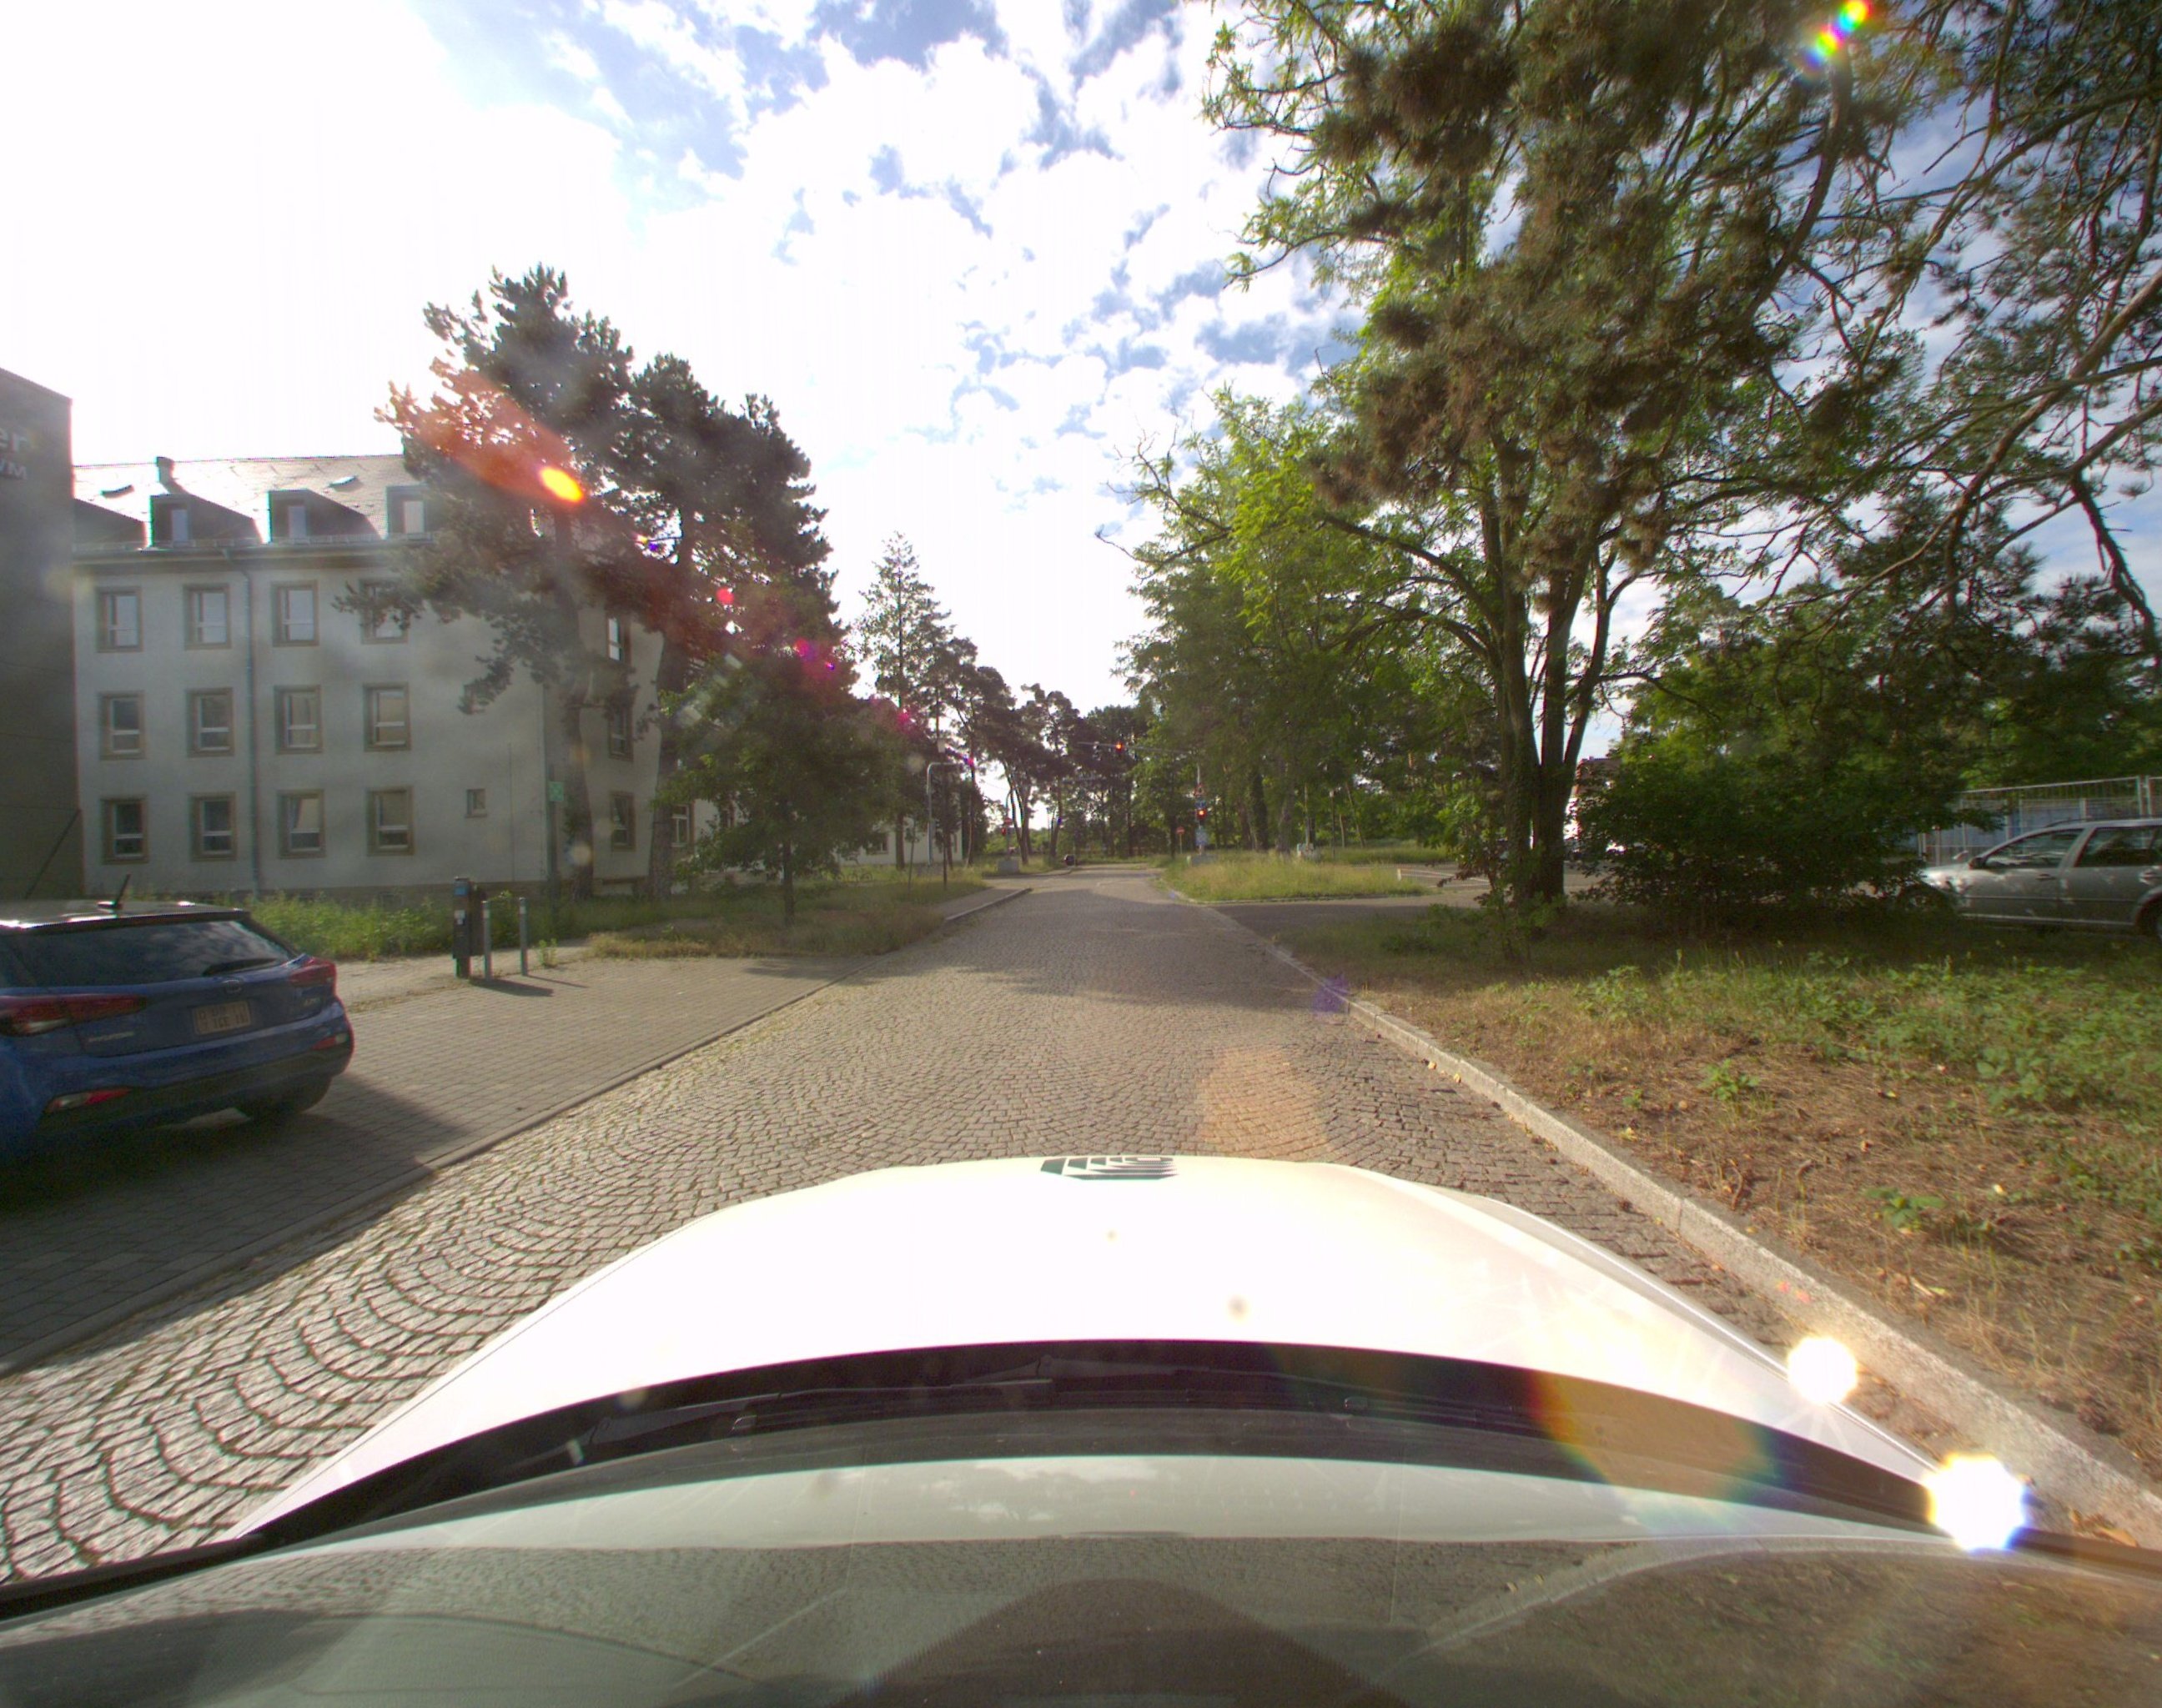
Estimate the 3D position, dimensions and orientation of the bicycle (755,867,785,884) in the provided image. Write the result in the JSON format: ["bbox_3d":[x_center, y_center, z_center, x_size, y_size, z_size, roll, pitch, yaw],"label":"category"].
[{"bbox_3d":[-21.024,1.475,55.118,0.897,1.047,2.555,-2,0,2],"label":"bicycle"}]

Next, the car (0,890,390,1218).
[{"bbox_3d":[-6.675,0.985,4.785,3.819,1.464,1.721,0,0,3],"label":"car"}]

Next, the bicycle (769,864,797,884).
[{"bbox_3d":[-20.128,1.350,55.093,0.823,1.281,2.555,-2,0,2],"label":"bicycle"}]

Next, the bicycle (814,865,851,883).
[{"bbox_3d":[-16.388,1.298,53.739,2.111,1.108,0.828,-2,0,-2],"label":"bicycle"}]

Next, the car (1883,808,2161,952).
[{"bbox_3d":[11.754,0.236,9.063,1.662,1.467,3.998,-2,0,-1],"label":"car"}]

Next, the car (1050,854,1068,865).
[{"bbox_3d":[-3.075,0.783,115.725,1.772,1.490,3.765,-2,0,9],"label":"car"}]

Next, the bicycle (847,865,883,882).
[{"bbox_3d":[-14.266,1.275,53.774,2.111,1.047,0.828,-2,0,-2],"label":"bicycle"}]

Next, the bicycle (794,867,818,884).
[{"bbox_3d":[-18.566,1.451,55.009,0.823,1.047,2.125,-2,0,2],"label":"bicycle"}]

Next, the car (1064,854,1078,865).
[{"bbox_3d":[-1.320,0.747,110.956,1.839,1.486,3.999,-2,0,0],"label":"car"}]

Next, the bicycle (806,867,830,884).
[{"bbox_3d":[-17.784,1.443,55.030,0.823,1.047,2.125,-2,0,2],"label":"bicycle"}]

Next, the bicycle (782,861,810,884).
[{"bbox_3d":[-19.347,1.250,55.373,0.823,1.437,2.555,-2,0,2],"label":"bicycle"}]

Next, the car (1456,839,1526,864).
[{"bbox_3d":[23.257,-0.161,46.400,1.726,1.312,4.330,-2,0,-1],"label":"car"}]
